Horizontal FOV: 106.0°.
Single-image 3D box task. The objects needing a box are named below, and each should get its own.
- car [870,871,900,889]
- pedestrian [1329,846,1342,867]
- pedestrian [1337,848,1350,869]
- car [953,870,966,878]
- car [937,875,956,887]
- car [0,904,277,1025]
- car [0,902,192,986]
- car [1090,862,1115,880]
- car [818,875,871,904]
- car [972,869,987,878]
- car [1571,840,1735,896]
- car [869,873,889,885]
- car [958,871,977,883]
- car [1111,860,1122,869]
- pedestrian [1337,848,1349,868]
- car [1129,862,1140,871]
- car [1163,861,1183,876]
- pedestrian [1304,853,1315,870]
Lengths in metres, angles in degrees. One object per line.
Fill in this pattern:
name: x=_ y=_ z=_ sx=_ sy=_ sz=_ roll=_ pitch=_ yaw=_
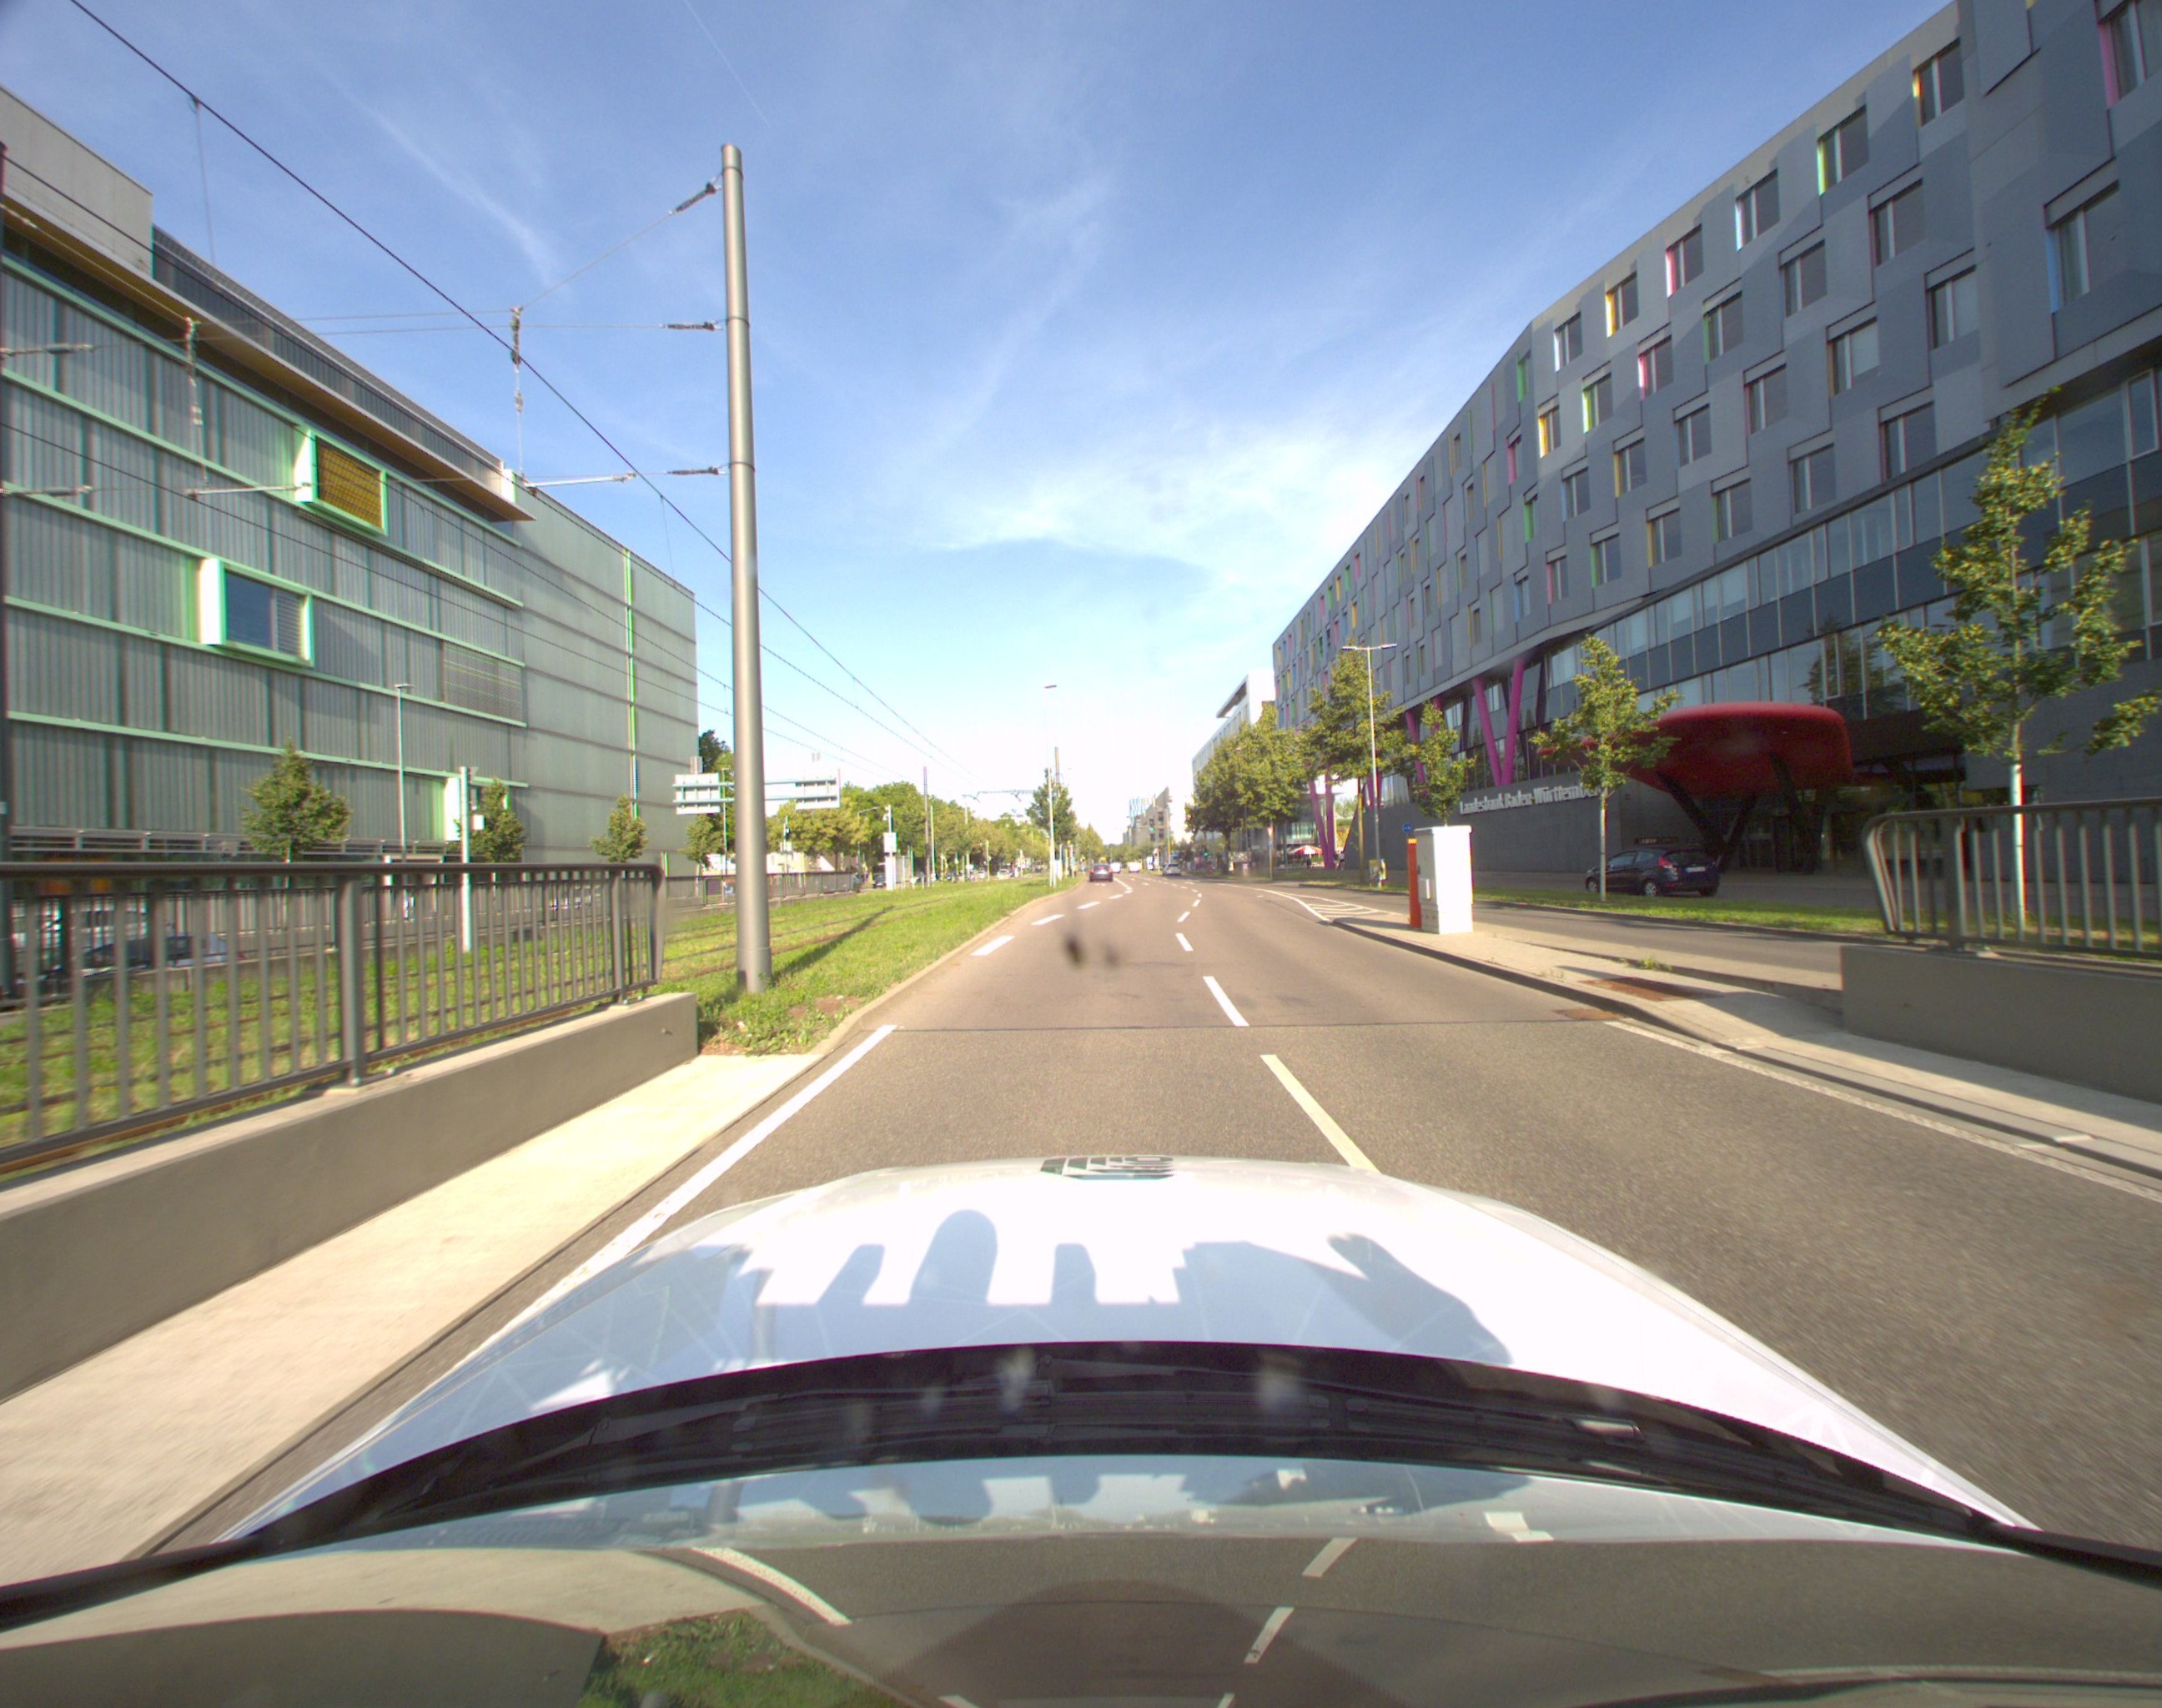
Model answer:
car: x=-21.119 y=2.773 z=88.088 sx=1.987 sy=1.687 sz=4.726 roll=-2 pitch=-1 yaw=1
pedestrian: x=23.104 y=0.228 z=73.940 sx=0.752 sy=1.793 sz=0.843 roll=-4 pitch=-1 yaw=0
pedestrian: x=23.810 y=0.422 z=73.973 sx=0.765 sy=1.825 sz=0.853 roll=-4 pitch=-1 yaw=0
car: x=-28.367 y=4.638 z=189.781 sx=1.871 sy=1.559 sz=4.007 roll=-3 pitch=-1 yaw=6
car: x=-19.710 y=3.940 z=119.546 sx=1.987 sy=1.687 sz=4.616 roll=-2 pitch=-1 yaw=1
car: x=-15.340 y=1.632 z=12.644 sx=1.654 sy=1.422 sz=4.000 roll=-2 pitch=0 yaw=1
car: x=-22.665 y=1.950 z=17.865 sx=1.763 sy=1.487 sz=4.029 roll=-2 pitch=0 yaw=2
car: x=1.666 y=1.326 z=65.350 sx=1.884 sy=1.386 sz=4.333 roll=0 pitch=0 yaw=0
car: x=-15.417 y=2.299 z=53.392 sx=1.987 sy=1.687 sz=4.726 roll=-2 pitch=-1 yaw=1
car: x=-18.307 y=3.557 z=146.659 sx=1.899 sy=1.528 sz=4.442 roll=-2 pitch=-1 yaw=1
car: x=16.146 y=0.362 z=23.271 sx=1.686 sy=1.390 sz=4.198 roll=-2 pitch=0 yaw=0
car: x=-33.860 y=4.196 z=136.521 sx=1.871 sy=1.750 sz=4.007 roll=-3 pitch=-1 yaw=6
car: x=-16.840 y=3.391 z=121.155 sx=1.987 sy=1.527 sz=4.913 roll=-6 pitch=0 yaw=1
car: x=6.444 y=1.897 z=147.143 sx=2.007 sy=1.684 sz=4.001 roll=0 pitch=-1 yaw=2
pedestrian: x=23.822 y=0.339 z=74.020 sx=0.654 sy=1.793 sz=0.786 roll=-5 pitch=-1 yaw=0
car: x=9.930 y=2.312 z=152.113 sx=1.857 sy=1.684 sz=4.001 roll=0 pitch=-1 yaw=2
car: x=10.357 y=1.591 z=92.008 sx=1.857 sy=1.684 sz=4.001 roll=0 pitch=-1 yaw=2
pedestrian: x=22.181 y=0.707 z=79.125 sx=0.692 sy=1.639 sz=0.736 roll=-4 pitch=-1 yaw=0
